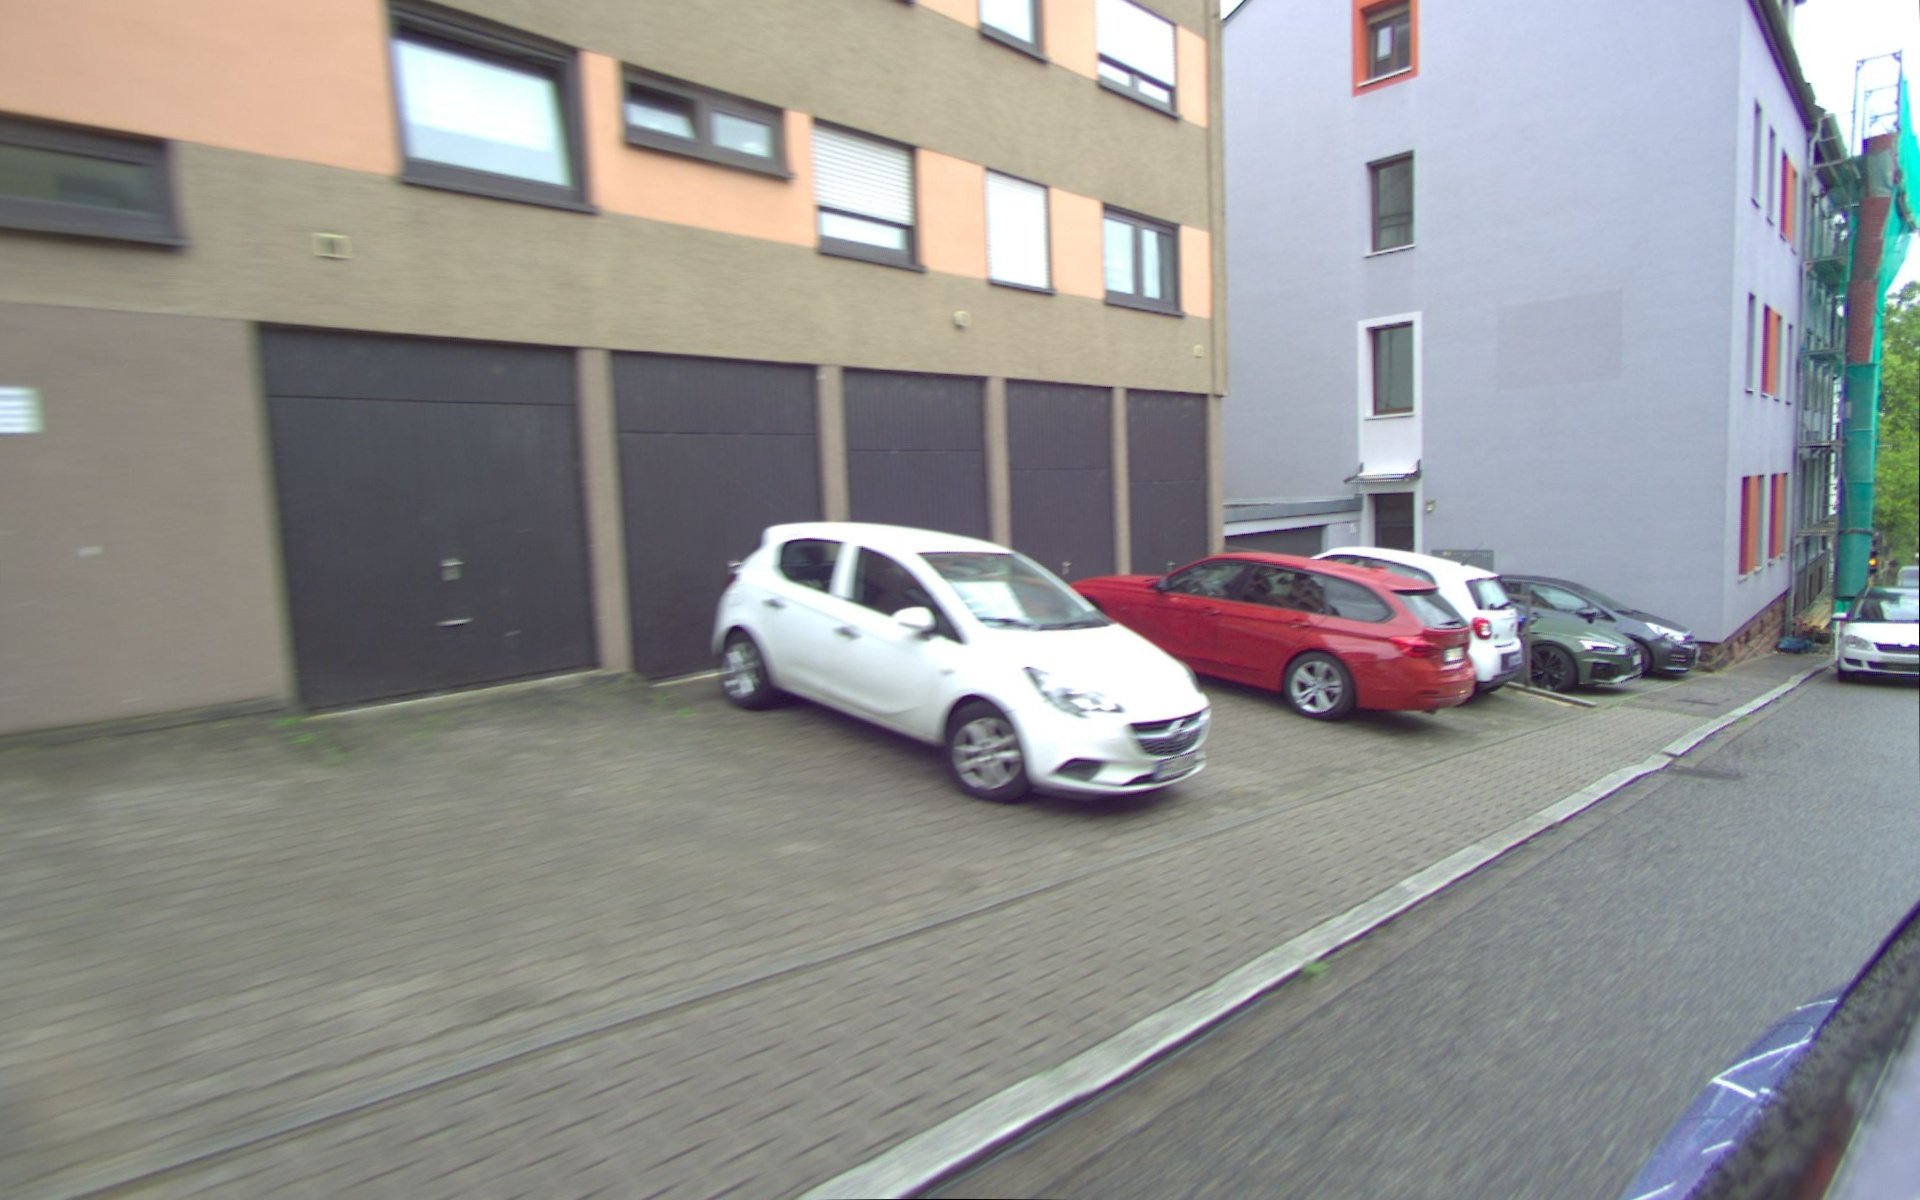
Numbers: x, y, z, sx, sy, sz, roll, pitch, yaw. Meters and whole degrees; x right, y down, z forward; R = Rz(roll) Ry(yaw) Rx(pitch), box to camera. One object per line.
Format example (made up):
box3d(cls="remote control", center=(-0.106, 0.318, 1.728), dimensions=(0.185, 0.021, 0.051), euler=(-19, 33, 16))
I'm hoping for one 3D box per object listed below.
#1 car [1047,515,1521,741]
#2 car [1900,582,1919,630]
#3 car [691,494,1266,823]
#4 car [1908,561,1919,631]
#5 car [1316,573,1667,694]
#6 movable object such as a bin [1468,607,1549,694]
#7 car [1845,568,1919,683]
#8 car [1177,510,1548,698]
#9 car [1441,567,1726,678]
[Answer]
box3d(cls="car", center=(3.241, 0.109, 10.798), dimensions=(1.847, 1.547, 4.349), euler=(-1, 9, -45))
box3d(cls="car", center=(33.542, 0.164, 34.545), dimensions=(1.994, 1.531, 4.268), euler=(0, 1, 45))
box3d(cls="car", center=(-0.079, 0.166, 7.304), dimensions=(3.963, 1.547, 1.667), euler=(9, 7, 42))
box3d(cls="car", center=(38.065, -0.219, 39.044), dimensions=(1.994, 2.443, 5.745), euler=(0, 3, 45))
box3d(cls="car", center=(7.745, 0.370, 15.024), dimensions=(4.269, 1.484, 1.864), euler=(3, 2, 44))
box3d(cls="movable object such as a bin", center=(7.074, 0.624, 13.051), dimensions=(0.722, 1.033, 0.760), euler=(0, 2, 44))
box3d(cls="car", center=(16.242, 0.395, 17.194), dimensions=(1.640, 1.785, 3.937), euler=(0, 0, 44))
box3d(cls="car", center=(4.893, -0.077, 12.663), dimensions=(3.832, 1.721, 1.701), euler=(11, 8, 44))
box3d(cls="car", center=(10.409, 0.285, 17.072), dimensions=(3.804, 1.569, 1.634), euler=(3, 3, 44))
